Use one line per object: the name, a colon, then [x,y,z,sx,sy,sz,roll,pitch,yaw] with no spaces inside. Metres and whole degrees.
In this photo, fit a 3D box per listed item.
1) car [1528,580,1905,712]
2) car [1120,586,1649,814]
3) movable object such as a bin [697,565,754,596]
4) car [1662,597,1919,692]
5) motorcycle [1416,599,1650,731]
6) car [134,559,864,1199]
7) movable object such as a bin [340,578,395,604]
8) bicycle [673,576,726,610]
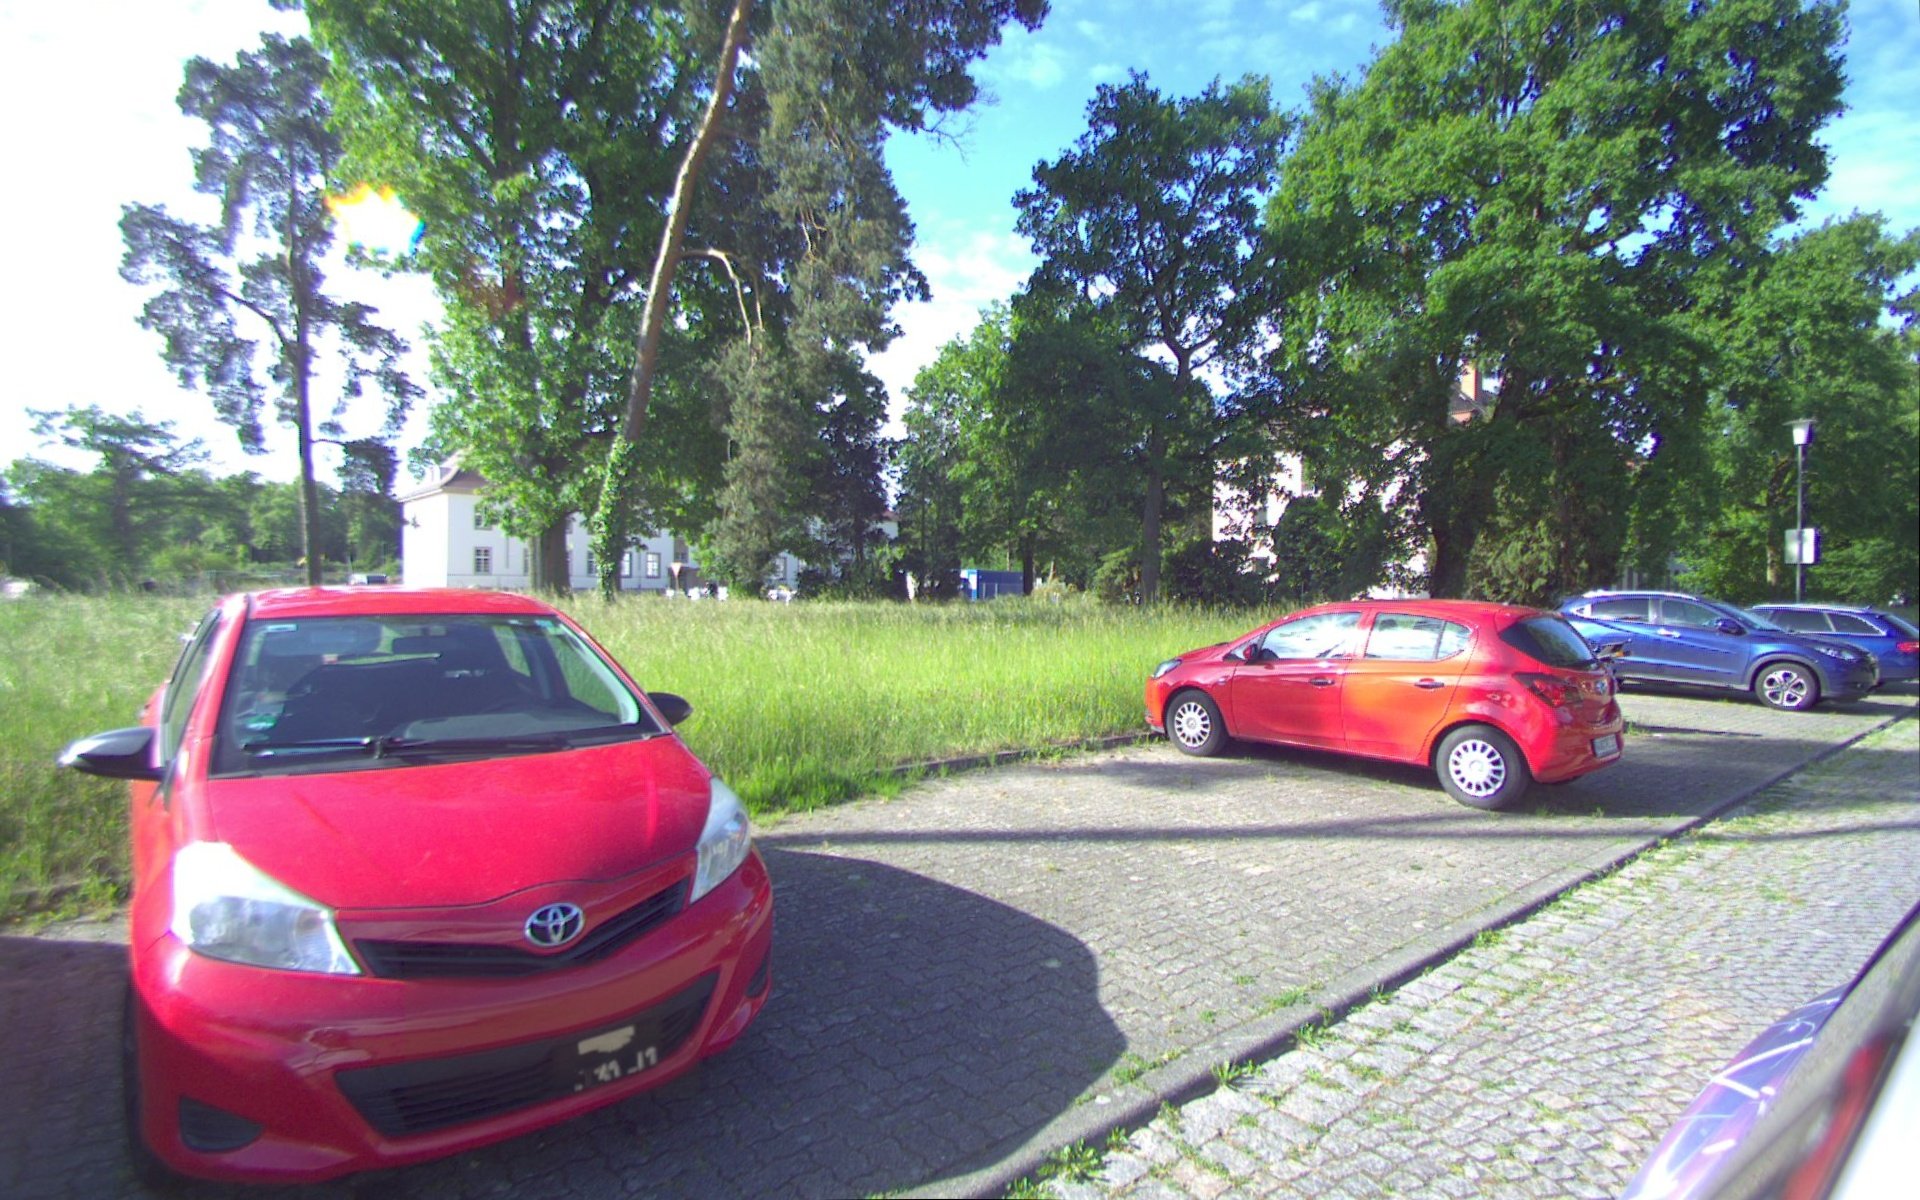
car: [11.170,0.560,15.224,1.622,1.618,4.271,0,2,-40]
car: [3.404,0.644,8.756,1.513,1.514,3.994,0,0,-40]
movable object such as a bin: [-22.760,-1.909,98.418,4.975,2.937,2.181,0,1,-34]
car: [14.949,0.704,17.939,1.716,1.485,3.808,0,0,-39]
motorcycle: [6.656,0.685,11.875,0.863,1.370,2.235,0,1,-38]
car: [-2.151,0.642,3.970,1.673,1.558,3.834,0,2,-39]
movable object such as a bin: [-48.543,-0.753,82.866,5.712,2.039,2.092,1,1,40]
bicycle: [-16.399,-0.478,63.751,3.078,2.038,0.952,-3,2,-42]
